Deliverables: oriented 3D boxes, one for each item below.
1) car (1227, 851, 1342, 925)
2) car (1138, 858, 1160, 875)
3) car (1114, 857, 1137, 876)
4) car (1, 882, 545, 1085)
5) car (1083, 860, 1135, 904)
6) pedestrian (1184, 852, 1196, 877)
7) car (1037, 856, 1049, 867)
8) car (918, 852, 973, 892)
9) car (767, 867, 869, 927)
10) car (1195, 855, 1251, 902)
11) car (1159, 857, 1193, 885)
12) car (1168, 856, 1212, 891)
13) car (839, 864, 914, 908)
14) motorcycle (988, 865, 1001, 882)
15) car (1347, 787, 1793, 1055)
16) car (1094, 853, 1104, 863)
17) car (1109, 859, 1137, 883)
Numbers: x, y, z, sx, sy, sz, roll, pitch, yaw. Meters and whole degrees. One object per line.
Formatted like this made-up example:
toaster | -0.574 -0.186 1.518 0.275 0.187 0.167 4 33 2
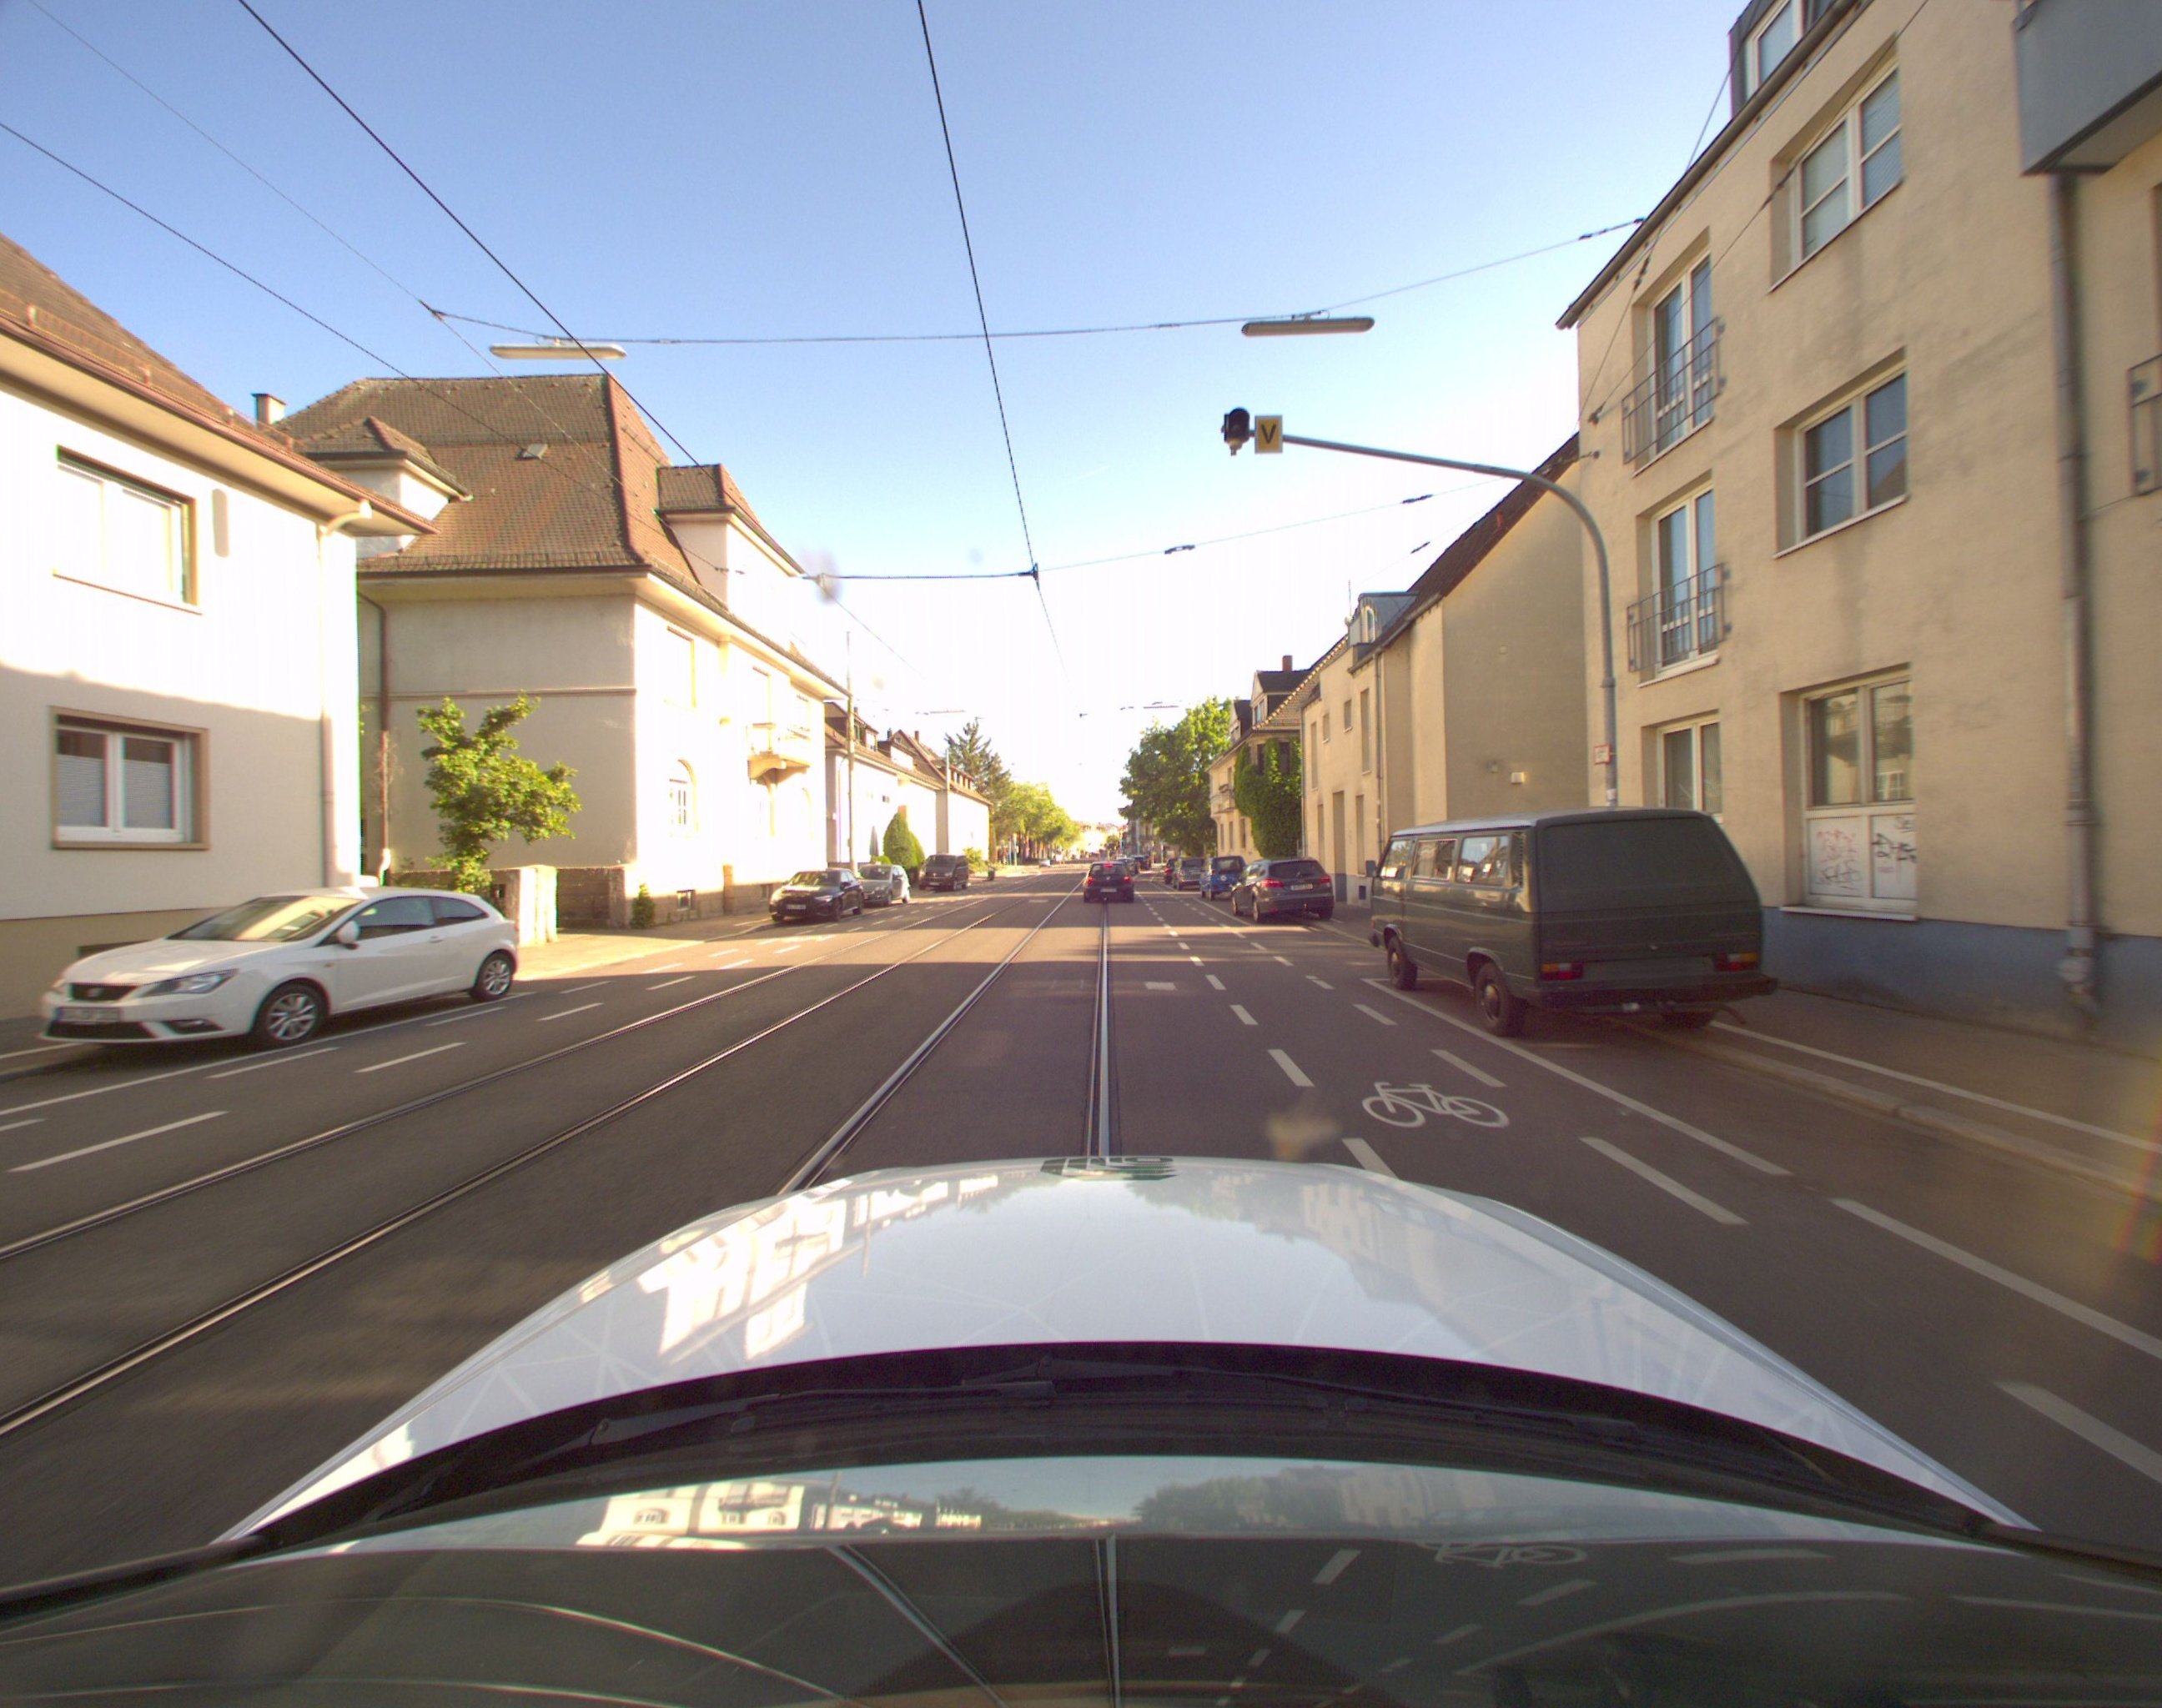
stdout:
car | 4.854 0.746 20.086 1.739 1.599 4.433 0 0 0
car | 6.029 1.070 72.457 1.565 1.311 3.646 -2 2 -1
car | 3.570 0.990 65.292 1.733 1.441 3.811 -1 0 2
car | -7.919 1.123 8.646 1.625 1.457 4.017 -3 0 2
car | 0.995 0.928 28.702 1.709 1.402 4.008 0 0 2
pedestrian | 7.596 0.734 56.760 0.715 1.688 0.870 -3 0 0
car | -5.523 1.061 119.185 1.571 1.477 3.438 -2 0 -2
car | -7.266 0.911 44.096 1.898 2.014 4.952 0 0 3
car | -7.467 1.167 23.507 1.658 1.477 4.247 -1 0 -2
car | 5.149 0.857 29.822 1.452 1.599 3.293 0 0 0
car | 5.432 0.944 47.014 1.659 1.564 3.772 0 0 2
car | 5.129 0.884 38.538 1.596 1.525 3.548 0 0 0
car | -7.468 1.137 30.096 1.670 1.477 3.837 0 0 2
motorcycle | -6.354 1.400 59.786 0.534 1.162 2.173 -3 0 2
car | 4.372 0.496 8.321 1.899 1.987 4.563 0 0 1
car | 3.384 0.678 152.614 1.781 1.860 4.000 1 0 0
car | 2.647 1.057 51.358 1.628 1.372 3.759 -2 0 2
